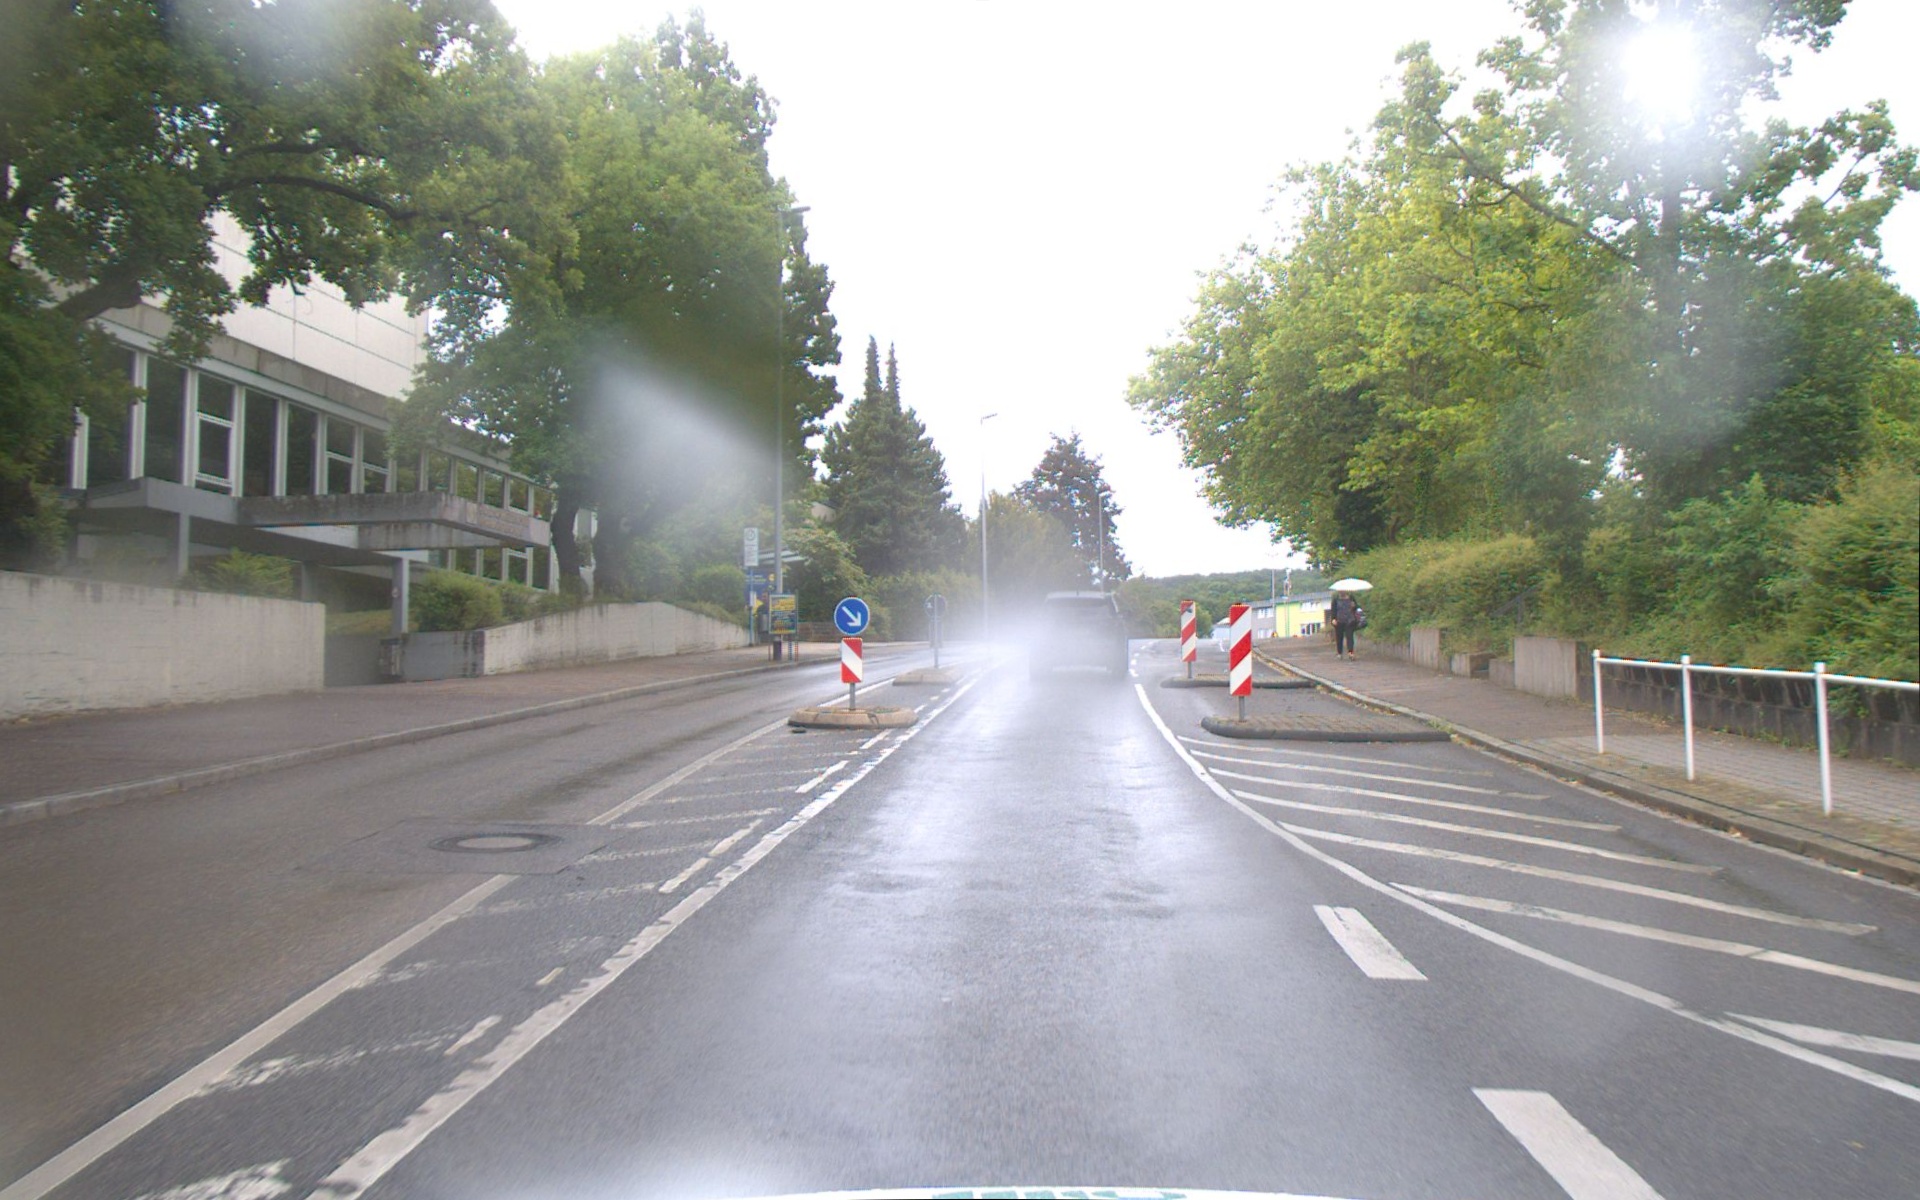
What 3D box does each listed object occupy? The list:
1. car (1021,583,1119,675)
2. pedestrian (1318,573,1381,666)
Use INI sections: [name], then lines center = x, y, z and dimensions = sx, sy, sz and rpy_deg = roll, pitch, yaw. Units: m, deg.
[car]
center = 2.065, 0.511, 31.933
dimensions = 1.752, 1.631, 4.255
rpy_deg = -1, 0, 2
[pedestrian]
center = 8.256, 0.433, 35.110
dimensions = 1.030, 1.927, 1.133
rpy_deg = -1, -2, -1
